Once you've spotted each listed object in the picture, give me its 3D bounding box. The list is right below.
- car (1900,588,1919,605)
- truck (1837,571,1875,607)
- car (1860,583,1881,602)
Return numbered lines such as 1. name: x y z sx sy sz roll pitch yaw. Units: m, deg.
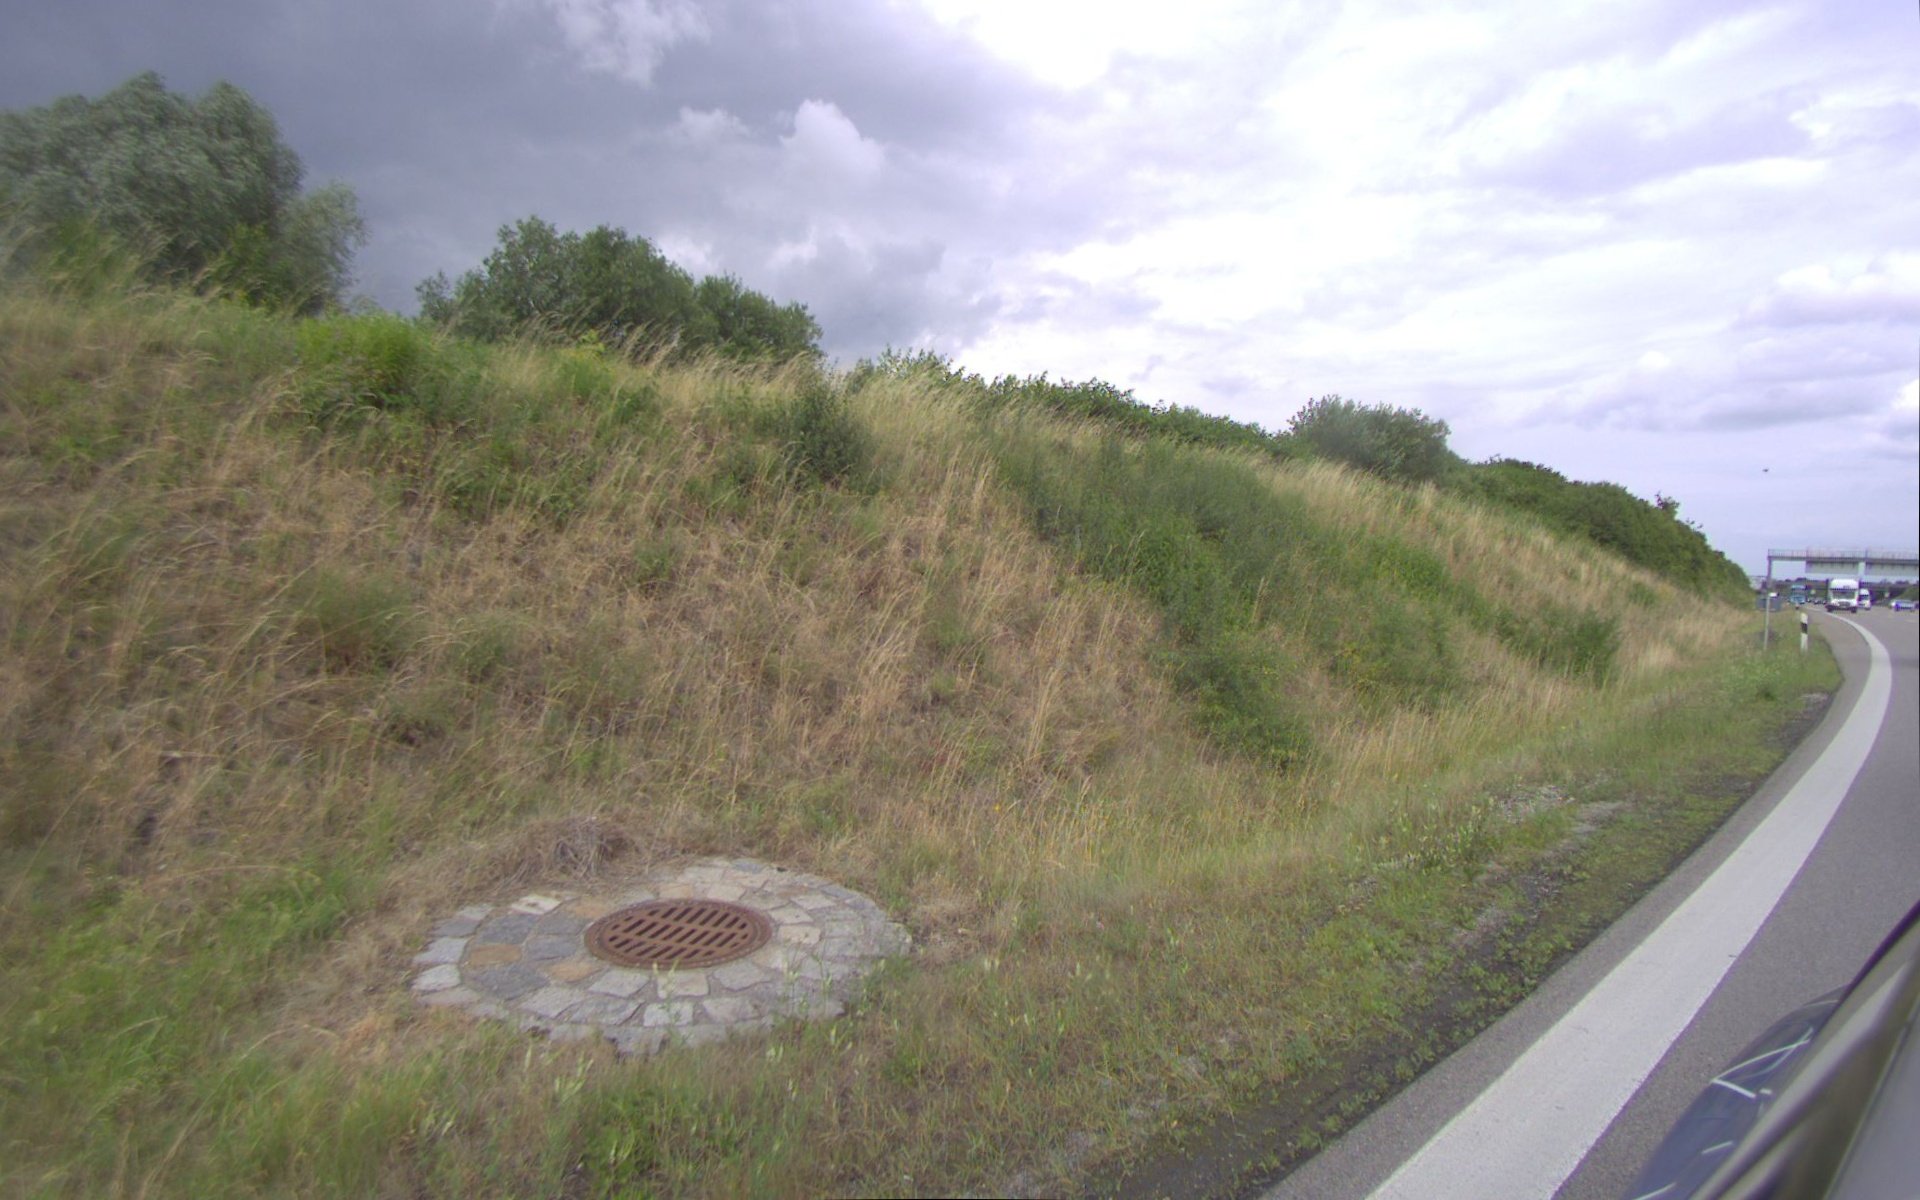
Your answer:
1. car: 118.864 -0.461 126.419 1.994 2.039 3.936 0 1 45
2. truck: 85.037 -1.057 96.109 2.440 3.275 7.086 2 2 40
3. car: 118.652 -0.975 131.913 1.993 2.425 3.939 0 1 43
